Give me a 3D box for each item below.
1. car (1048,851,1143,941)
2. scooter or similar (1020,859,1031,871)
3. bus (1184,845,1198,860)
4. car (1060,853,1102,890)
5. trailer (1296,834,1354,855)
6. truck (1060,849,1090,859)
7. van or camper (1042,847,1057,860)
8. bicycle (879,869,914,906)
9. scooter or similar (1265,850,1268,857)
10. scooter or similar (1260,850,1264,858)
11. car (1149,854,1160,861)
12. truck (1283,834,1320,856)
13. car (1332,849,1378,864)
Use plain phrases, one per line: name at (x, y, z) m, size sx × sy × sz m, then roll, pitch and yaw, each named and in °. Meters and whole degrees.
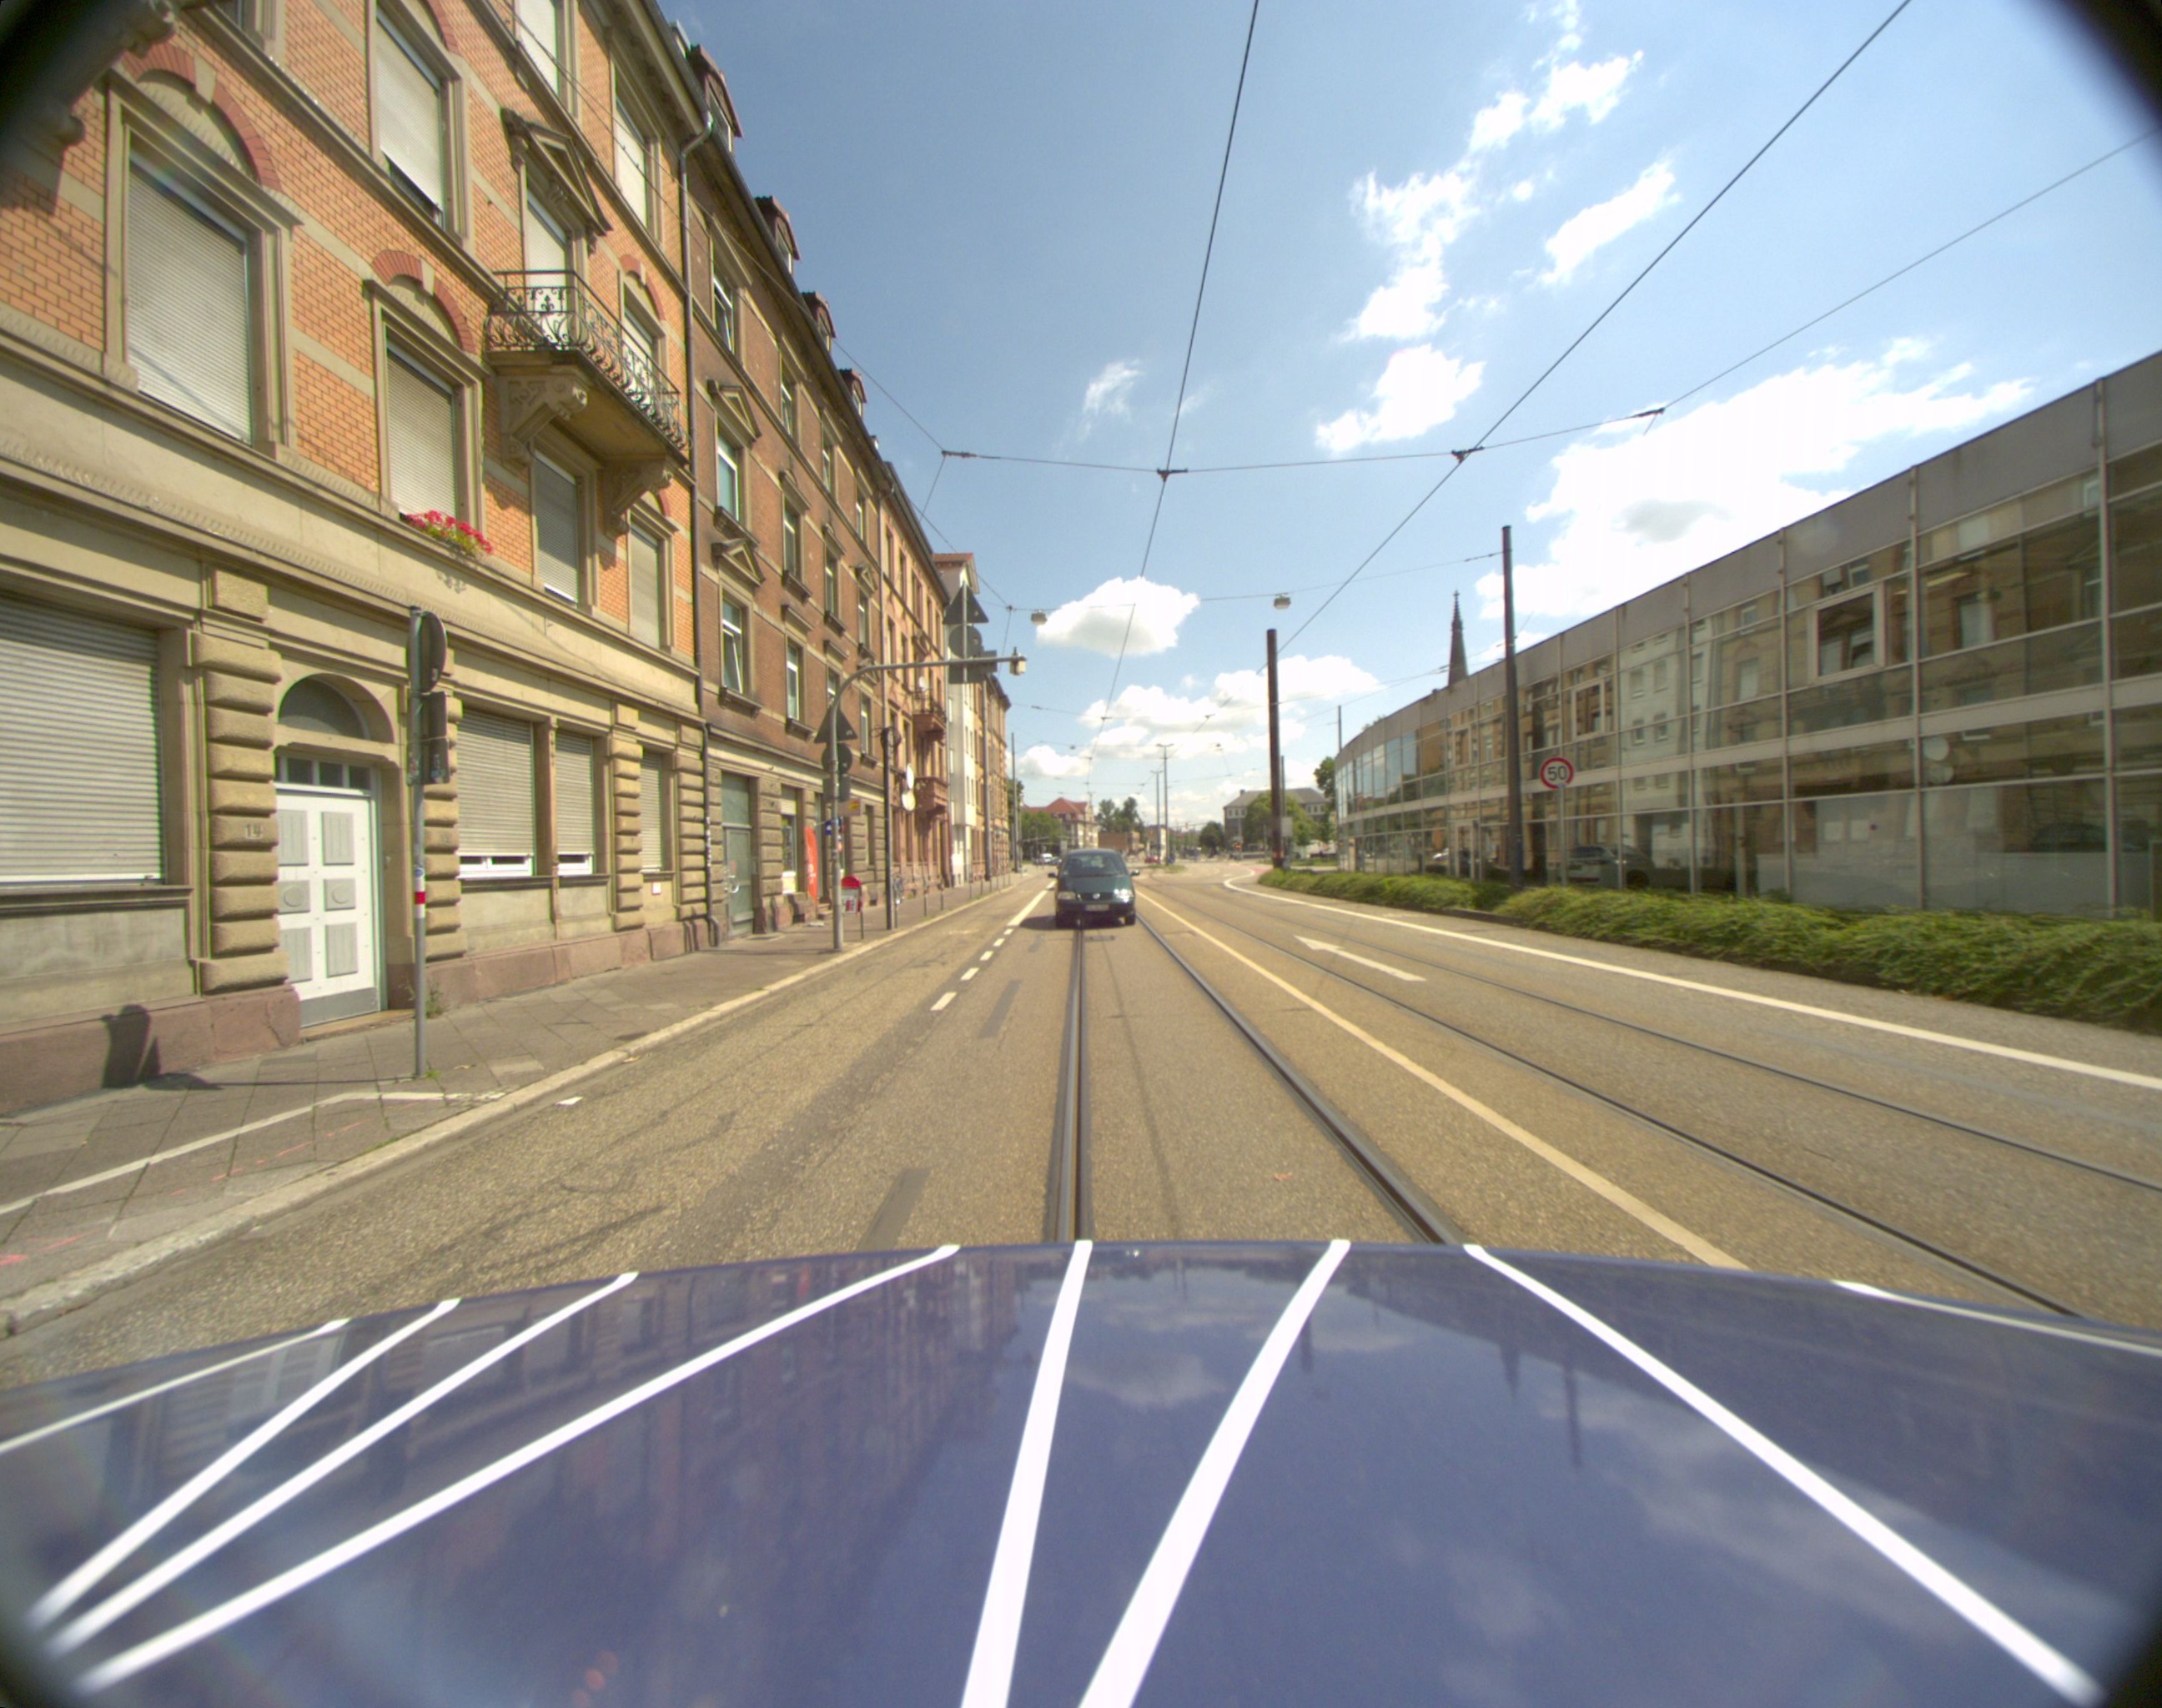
car at (0.298, 0.831, 17.131) m, size 1.819 × 1.707 × 4.085 m, roll -3°, pitch 0°, yaw 0°
scooter or similar at (-5.903, 1.164, 80.545) m, size 0.949 × 1.173 × 1.086 m, roll 0°, pitch 1°, yaw 7°
bus at (26.918, -0.337, 185.273) m, size 2.947 × 3.427 × 7.954 m, roll -1°, pitch 0°, yaw 11°
car at (-0.031, 0.816, 37.846) m, size 1.873 × 1.607 × 4.426 m, roll -3°, pitch 0°, yaw -1°
trailer at (50.208, -1.929, 156.026) m, size 13.439 × 4.052 × 2.942 m, roll -2°, pitch 0°, yaw -30°
truck at (-1.818, -0.029, 236.445) m, size 8.745 × 2.981 × 3.349 m, roll -2°, pitch 2°, yaw -25°
van or camper at (-7.086, -0.082, 170.882) m, size 2.234 × 2.719 × 5.515 m, roll -2°, pitch 0°, yaw -12°
bicycle at (-6.362, 1.135, 26.299) m, size 0.588 × 1.171 × 2.205 m, roll -1°, pitch 0°, yaw 1°
scooter or similar at (29.069, -0.028, 118.974) m, size 0.416 × 1.118 × 0.556 m, roll -1°, pitch 0°, yaw -1°
scooter or similar at (28.300, -0.012, 118.762) m, size 0.462 × 1.193 × 0.549 m, roll -1°, pitch 0°, yaw -1°
car at (14.196, 0.674, 147.476) m, size 1.706 × 1.420 × 3.902 m, roll 0°, pitch 0°, yaw 0°
truck at (44.270, -1.781, 152.539) m, size 6.889 × 4.094 × 2.957 m, roll -2°, pitch 0°, yaw -30°
car at (28.706, 0.270, 79.636) m, size 4.182 × 1.412 × 1.821 m, roll -2°, pitch 0°, yaw 6°
